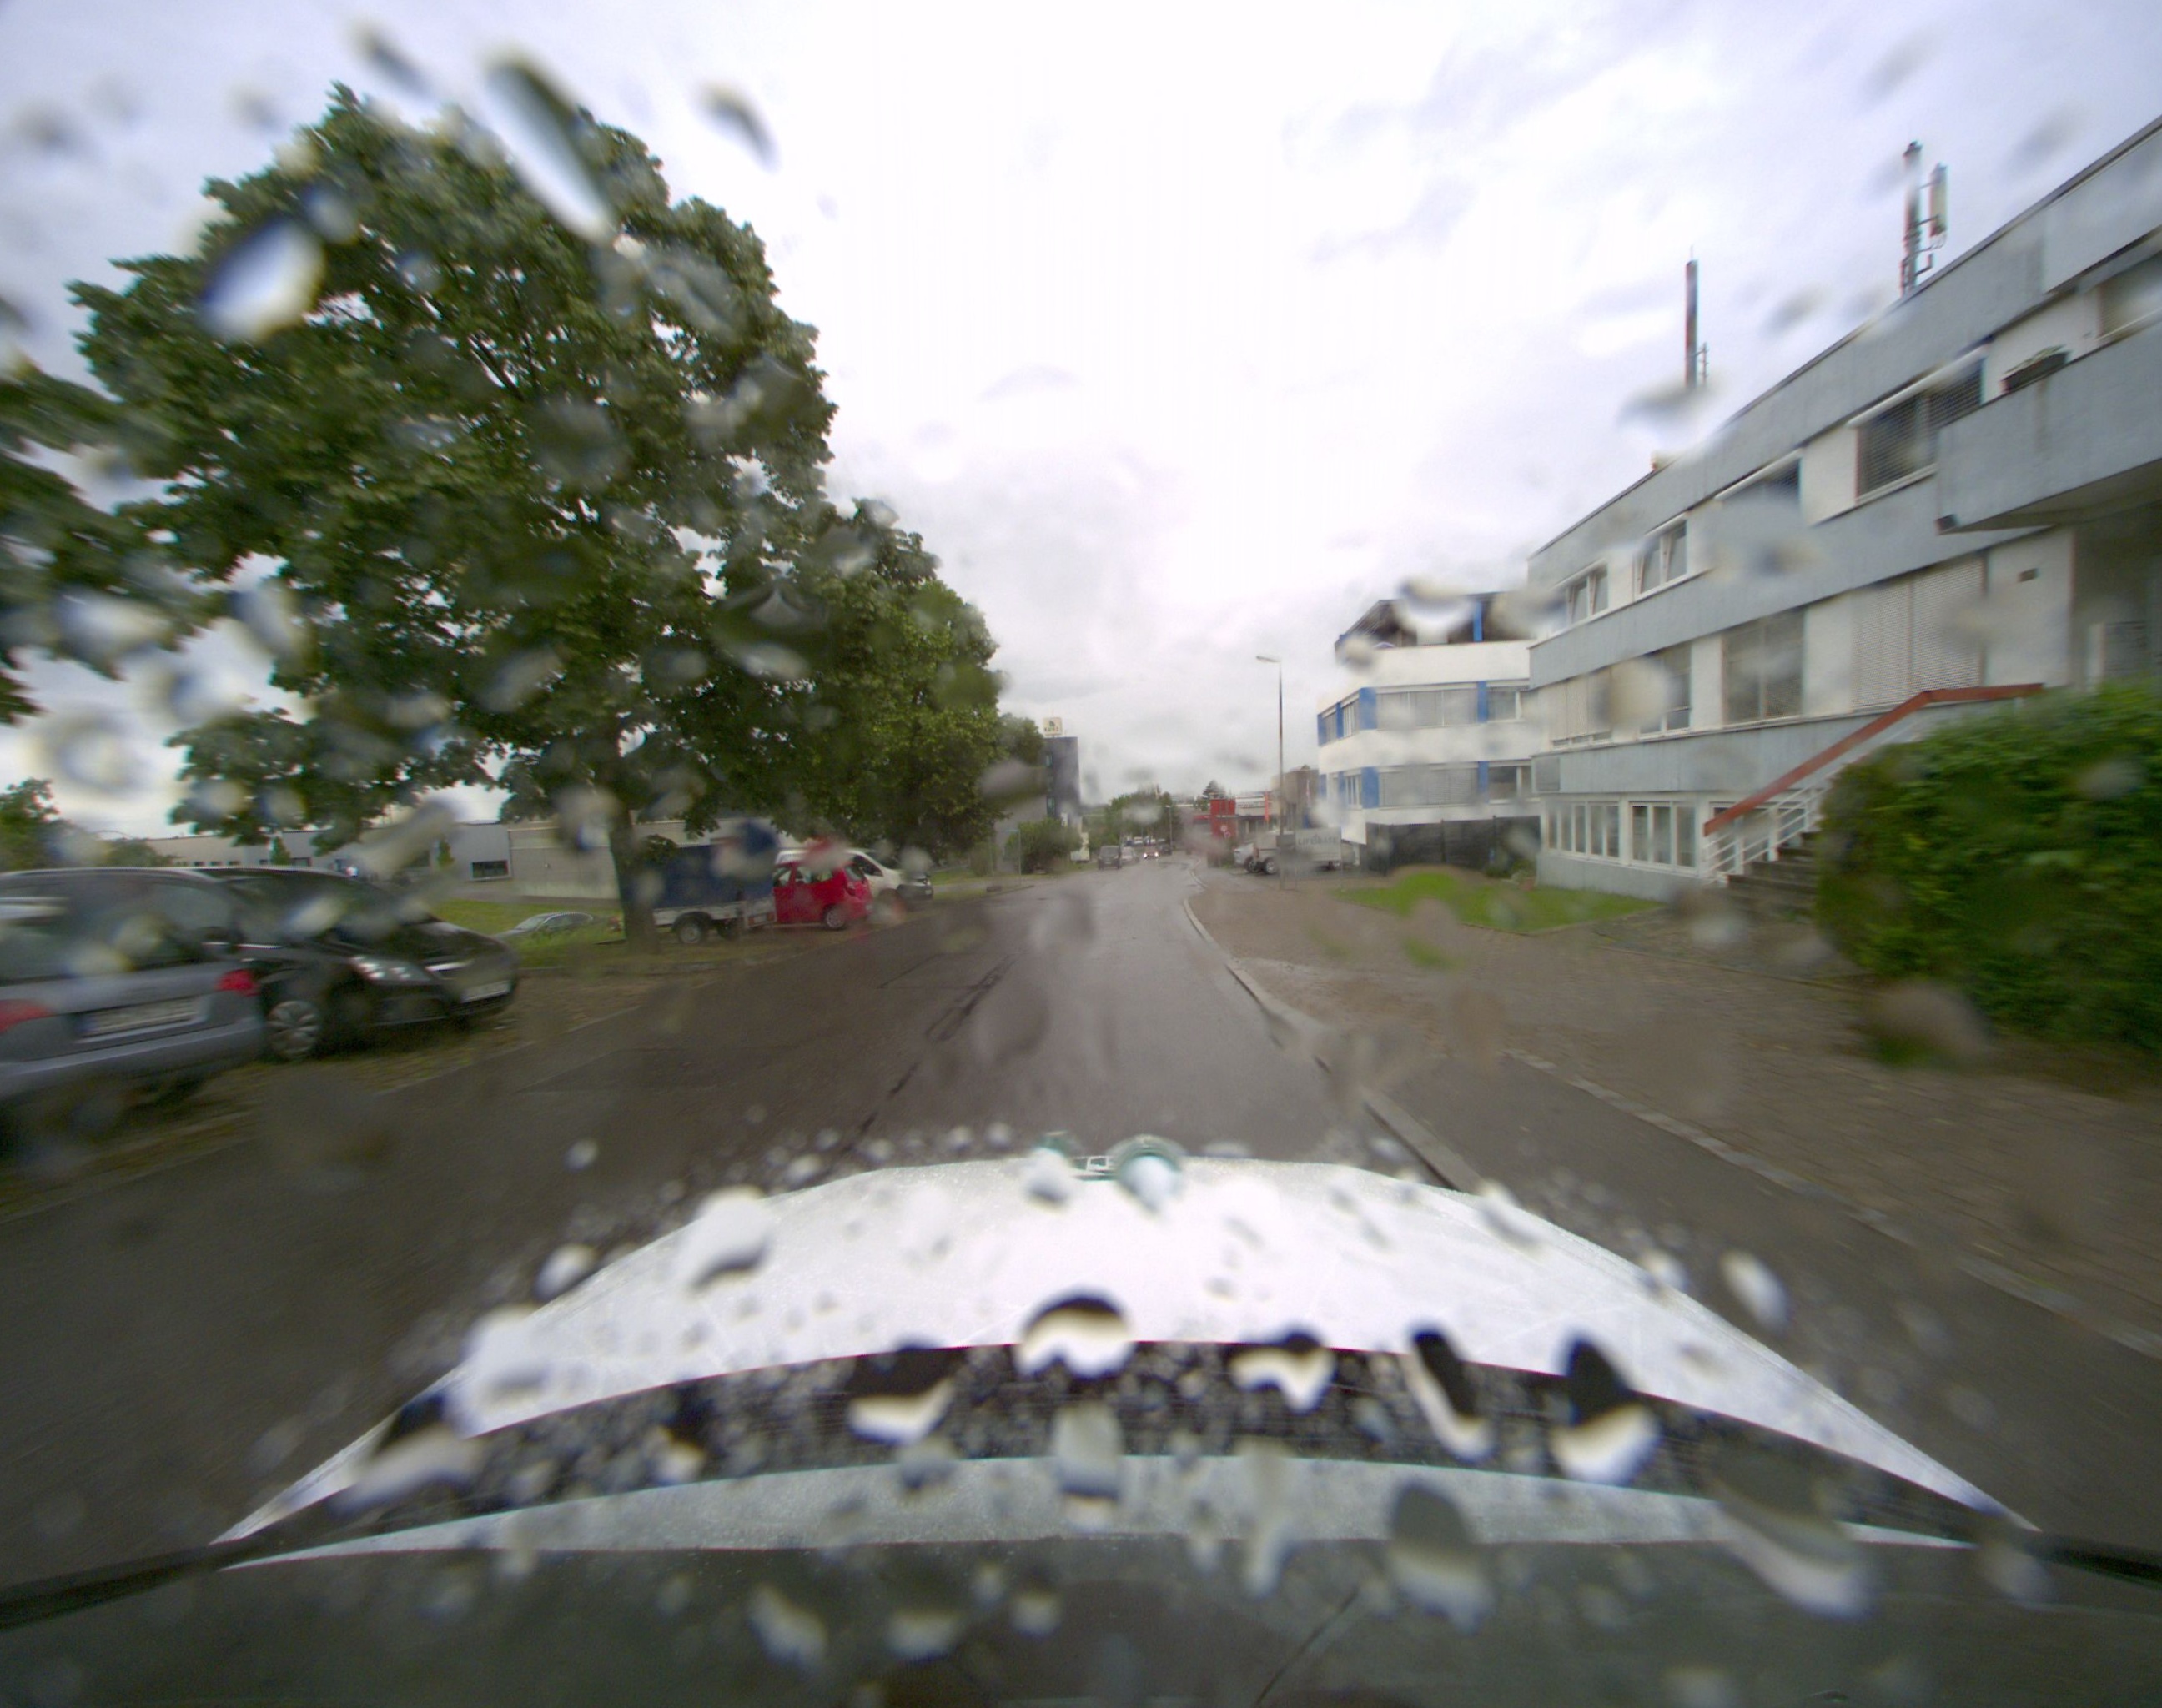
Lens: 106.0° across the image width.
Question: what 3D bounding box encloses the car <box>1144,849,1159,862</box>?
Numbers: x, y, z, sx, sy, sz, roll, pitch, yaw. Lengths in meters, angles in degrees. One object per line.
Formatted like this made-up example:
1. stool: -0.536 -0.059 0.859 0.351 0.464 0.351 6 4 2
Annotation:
1. car: 9.490 0.266 109.745 1.740 1.508 3.939 -6 -1 4

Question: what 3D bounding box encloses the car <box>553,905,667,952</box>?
1. car: -18.911 2.963 32.864 1.544 1.446 3.728 -4 0 25

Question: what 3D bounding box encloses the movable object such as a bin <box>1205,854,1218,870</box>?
1. movable object such as a bin: 8.456 0.506 52.636 0.767 1.030 0.810 -3 0 8

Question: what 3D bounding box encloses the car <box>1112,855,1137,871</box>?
1. car: 4.298 0.860 79.747 1.945 1.461 5.258 -4 0 7

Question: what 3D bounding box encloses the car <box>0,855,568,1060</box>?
1. car: -7.549 0.866 7.463 4.597 1.590 1.808 -1 -1 4

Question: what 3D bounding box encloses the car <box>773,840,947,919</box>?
1. car: -6.206 0.711 23.086 4.274 1.906 1.867 -4 -1 9

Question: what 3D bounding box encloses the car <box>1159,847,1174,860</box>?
1. car: 12.851 -0.041 122.667 1.948 1.675 4.476 -3 -1 3

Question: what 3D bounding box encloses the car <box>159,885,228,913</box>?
1. car: -66.296 3.339 60.814 4.659 1.855 2.295 -2 1 28

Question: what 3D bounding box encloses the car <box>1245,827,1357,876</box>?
1. car: 9.486 -0.105 35.471 4.320 1.773 2.092 -4 0 5

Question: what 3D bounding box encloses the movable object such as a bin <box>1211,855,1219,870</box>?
1. movable object such as a bin: 8.947 0.571 54.195 0.469 0.967 0.515 -3 0 8

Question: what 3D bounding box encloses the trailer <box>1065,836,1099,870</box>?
1. trailer: 0.096 -0.074 108.652 4.134 4.203 2.018 -4 -1 45

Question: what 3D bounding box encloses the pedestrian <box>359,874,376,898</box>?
1. pedestrian: -61.847 2.746 70.590 0.651 2.004 0.870 -3 0 34

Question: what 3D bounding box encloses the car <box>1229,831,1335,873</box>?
1. car: 9.443 -0.098 38.583 4.573 1.538 2.083 -5 -1 6

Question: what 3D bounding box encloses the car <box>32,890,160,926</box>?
1. car: -60.277 3.260 49.943 2.261 1.648 4.649 -5 0 32

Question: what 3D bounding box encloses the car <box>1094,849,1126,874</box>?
1. car: 2.358 0.582 65.202 1.905 1.831 4.859 -3 0 8

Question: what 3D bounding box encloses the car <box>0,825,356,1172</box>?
1. car: -7.315 0.769 4.987 4.054 1.722 2.028 -1 -1 5

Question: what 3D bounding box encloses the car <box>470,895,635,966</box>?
1. car: -18.804 2.690 29.210 1.975 1.752 4.411 -4 3 26

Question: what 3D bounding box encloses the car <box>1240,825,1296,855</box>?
1. car: 19.420 -1.424 84.721 5.272 2.013 2.226 -11 -2 6

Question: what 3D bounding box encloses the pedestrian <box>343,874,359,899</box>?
1. pedestrian: -62.563 2.779 69.808 0.638 2.013 0.857 -3 0 36

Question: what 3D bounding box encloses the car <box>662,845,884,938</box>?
1. car: -6.748 0.814 18.148 4.181 1.722 1.755 -3 -1 1

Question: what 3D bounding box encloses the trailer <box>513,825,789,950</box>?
1. trailer: -7.989 0.610 15.362 4.193 1.984 1.776 -3 -1 4

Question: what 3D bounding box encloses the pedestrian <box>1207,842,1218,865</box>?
1. pedestrian: 10.023 -0.044 62.211 0.732 1.767 0.810 -3 -1 8
